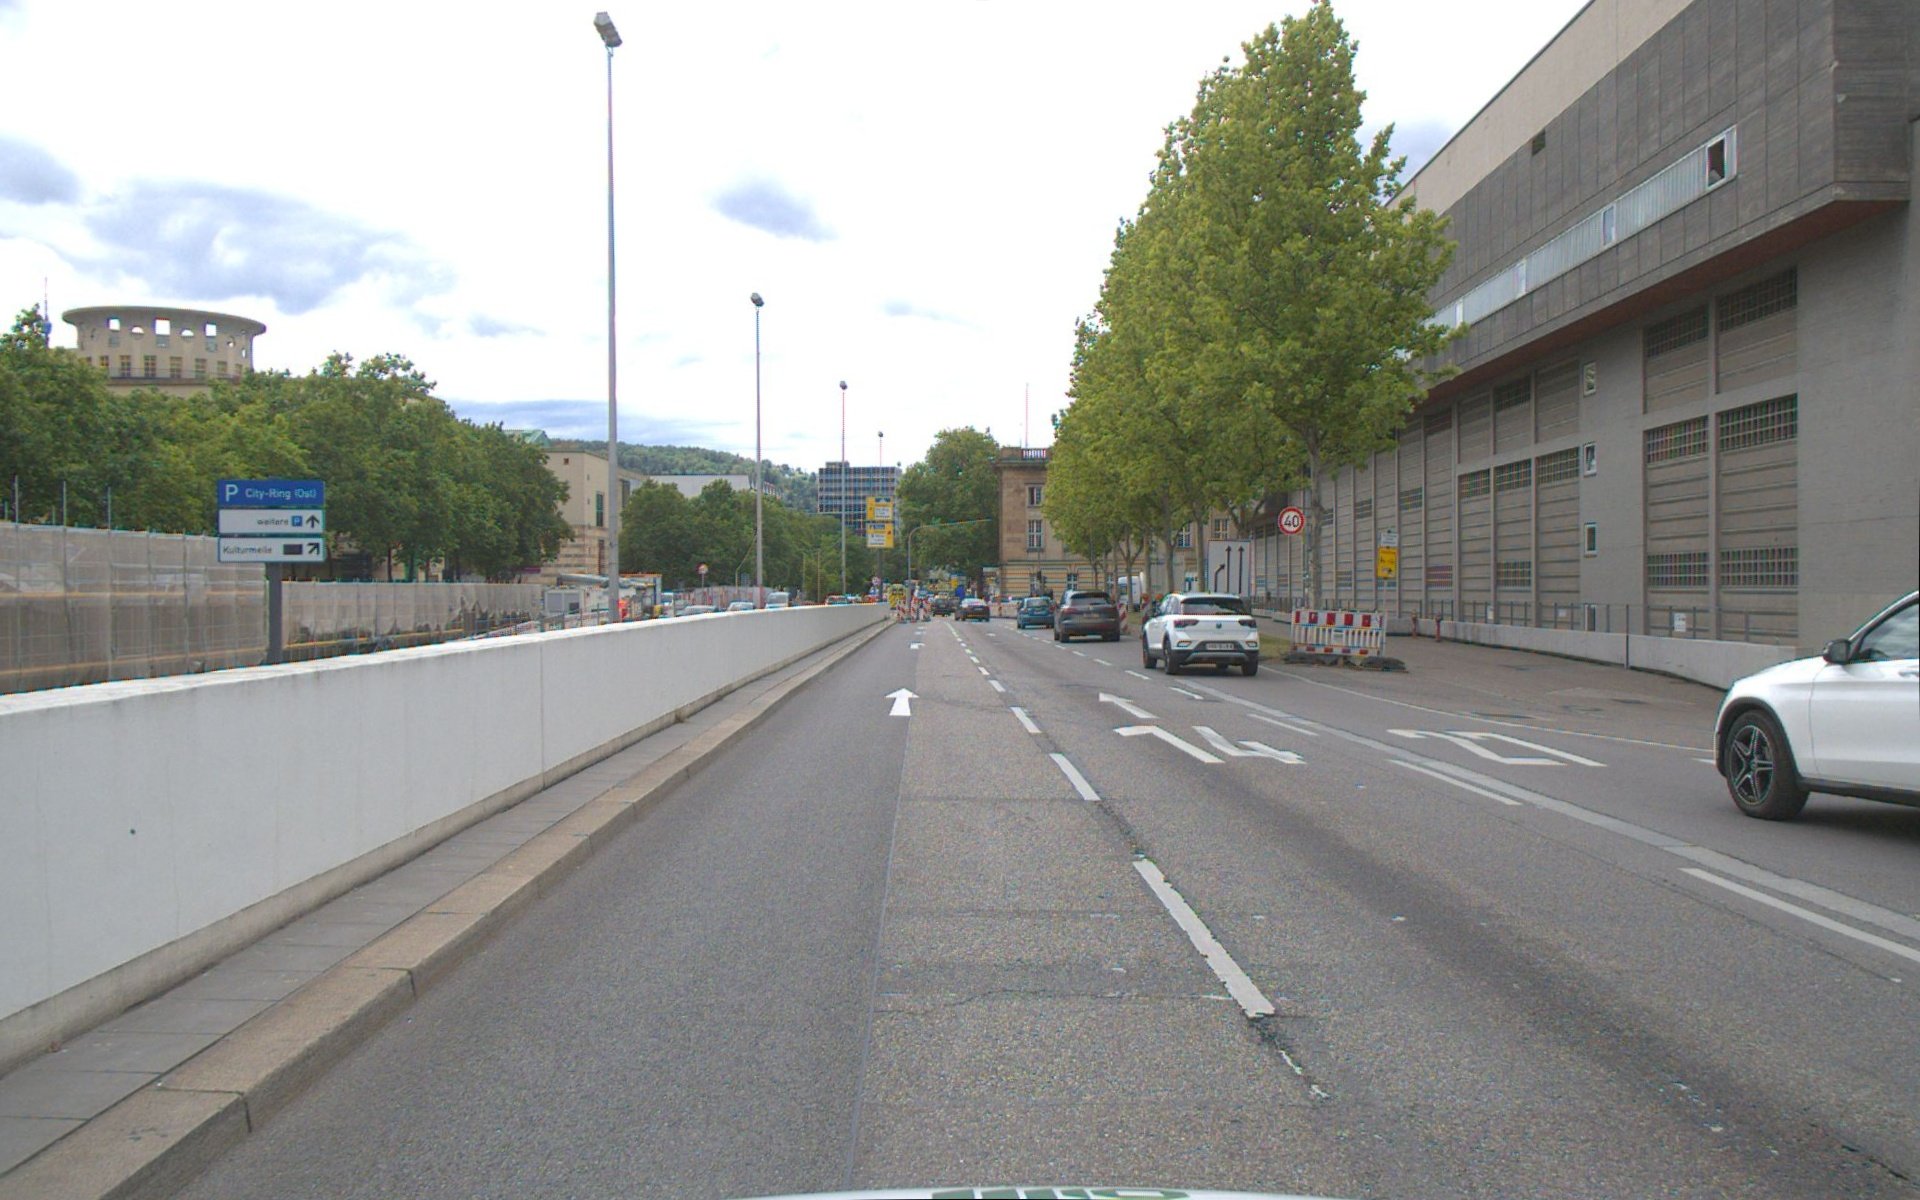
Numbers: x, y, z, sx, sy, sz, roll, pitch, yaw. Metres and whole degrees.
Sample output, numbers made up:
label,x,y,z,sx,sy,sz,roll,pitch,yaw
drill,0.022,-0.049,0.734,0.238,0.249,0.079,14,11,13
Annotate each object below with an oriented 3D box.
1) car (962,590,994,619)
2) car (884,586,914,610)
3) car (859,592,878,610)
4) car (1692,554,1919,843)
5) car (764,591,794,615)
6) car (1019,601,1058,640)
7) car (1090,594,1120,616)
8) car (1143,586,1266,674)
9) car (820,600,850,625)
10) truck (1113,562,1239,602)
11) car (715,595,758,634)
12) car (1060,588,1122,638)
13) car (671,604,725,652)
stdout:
label,x,y,z,sx,sy,sz,roll,pitch,yaw
car,1.152,0.259,106.449,1.785,1.771,4.482,-1,0,4
car,-6.176,-0.217,168.941,2.528,2.416,5.529,-1,0,4
car,-8.352,0.074,150.193,1.716,1.595,4.328,0,0,-4
car,6.414,0.557,9.732,1.777,1.671,4.545,-1,-1,-7
car,-12.877,0.243,117.983,1.715,1.595,3.377,-3,0,0
car,3.808,0.984,79.895,1.785,1.771,4.482,-1,0,4
car,10.947,0.374,124.989,1.818,1.595,4.330,0,-1,0
car,4.782,0.551,32.930,1.715,1.595,4.330,1,0,-1
car,-8.533,0.812,112.861,1.715,1.595,3.377,-3,0,0
truck,17.354,-1.449,133.240,9.824,3.104,2.568,-1,-1,0
car,-12.563,0.807,93.247,1.953,2.048,4.000,-1,1,-1
car,4.293,0.419,54.674,1.786,1.595,4.480,0,0,1
car,-12.312,1.299,78.049,1.953,2.048,4.000,-1,1,-1
